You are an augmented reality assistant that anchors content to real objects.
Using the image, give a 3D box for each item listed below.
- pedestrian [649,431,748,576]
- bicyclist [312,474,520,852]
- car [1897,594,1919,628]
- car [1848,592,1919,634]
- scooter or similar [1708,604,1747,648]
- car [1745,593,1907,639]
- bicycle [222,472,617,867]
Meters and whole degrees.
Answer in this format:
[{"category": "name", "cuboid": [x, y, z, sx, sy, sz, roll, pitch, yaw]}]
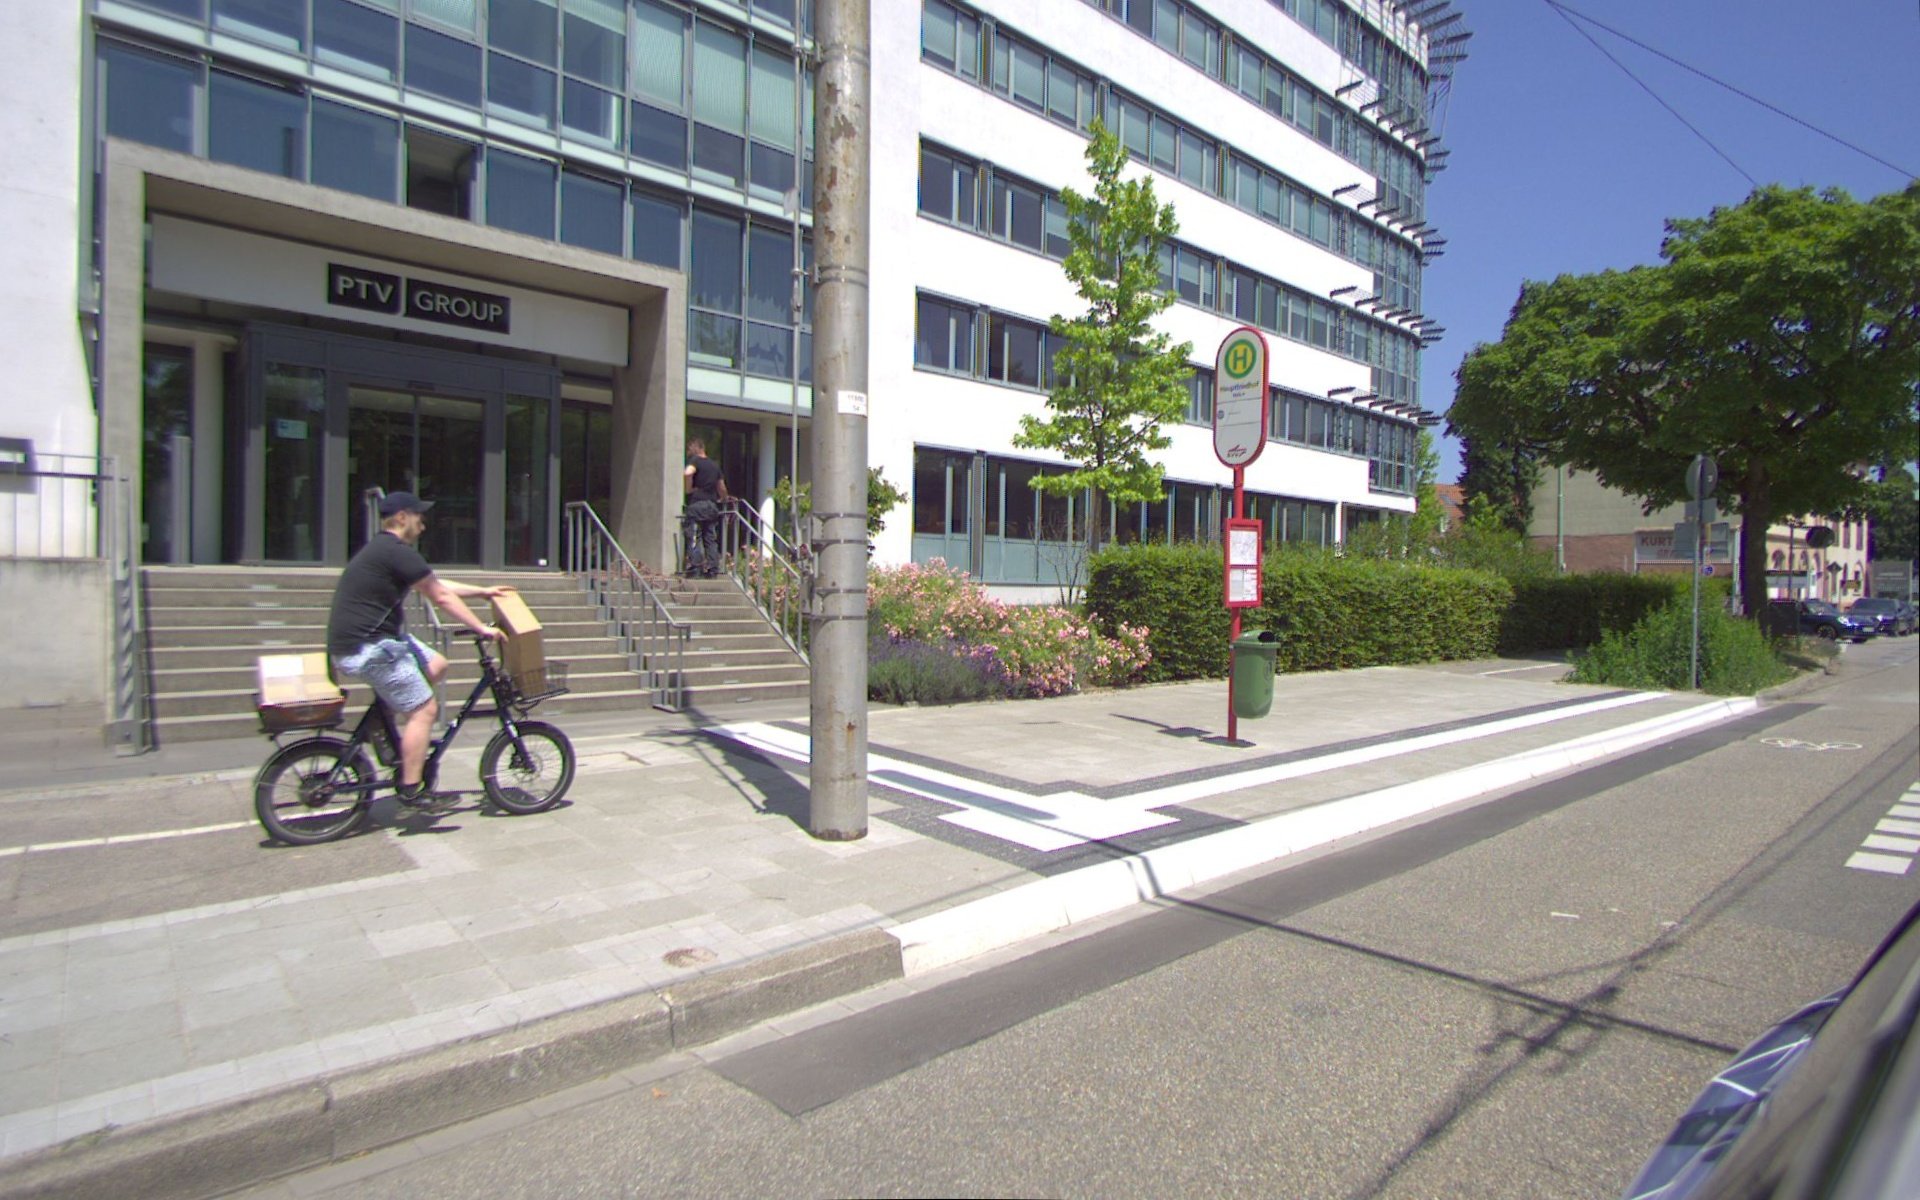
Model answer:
[{"category": "pedestrian", "cuboid": [-3.347, -1.202, 12.925, 1.067, 1.736, 0.878, 1, 2, -24]}, {"category": "bicyclist", "cuboid": [-2.909, 0.287, 5.404, 0.871, 1.821, 0.698, 0, 3, -38]}, {"category": "car", "cuboid": [47.548, 0.536, 49.632, 4.389, 1.567, 1.776, 0, 3, -41]}, {"category": "car", "cuboid": [42.018, 0.566, 45.796, 4.991, 1.713, 1.929, 0, 3, -40]}, {"category": "scooter or similar", "cuboid": [22.035, 0.740, 29.036, 1.127, 1.238, 0.327, 1, -1, -20]}, {"category": "car", "cuboid": [29.594, 0.503, 34.748, 1.667, 1.388, 3.936, 1, 2, -16]}, {"category": "bicycle", "cuboid": [-2.855, 0.298, 5.438, 1.777, 1.807, 0.692, 0, 3, -38]}]
